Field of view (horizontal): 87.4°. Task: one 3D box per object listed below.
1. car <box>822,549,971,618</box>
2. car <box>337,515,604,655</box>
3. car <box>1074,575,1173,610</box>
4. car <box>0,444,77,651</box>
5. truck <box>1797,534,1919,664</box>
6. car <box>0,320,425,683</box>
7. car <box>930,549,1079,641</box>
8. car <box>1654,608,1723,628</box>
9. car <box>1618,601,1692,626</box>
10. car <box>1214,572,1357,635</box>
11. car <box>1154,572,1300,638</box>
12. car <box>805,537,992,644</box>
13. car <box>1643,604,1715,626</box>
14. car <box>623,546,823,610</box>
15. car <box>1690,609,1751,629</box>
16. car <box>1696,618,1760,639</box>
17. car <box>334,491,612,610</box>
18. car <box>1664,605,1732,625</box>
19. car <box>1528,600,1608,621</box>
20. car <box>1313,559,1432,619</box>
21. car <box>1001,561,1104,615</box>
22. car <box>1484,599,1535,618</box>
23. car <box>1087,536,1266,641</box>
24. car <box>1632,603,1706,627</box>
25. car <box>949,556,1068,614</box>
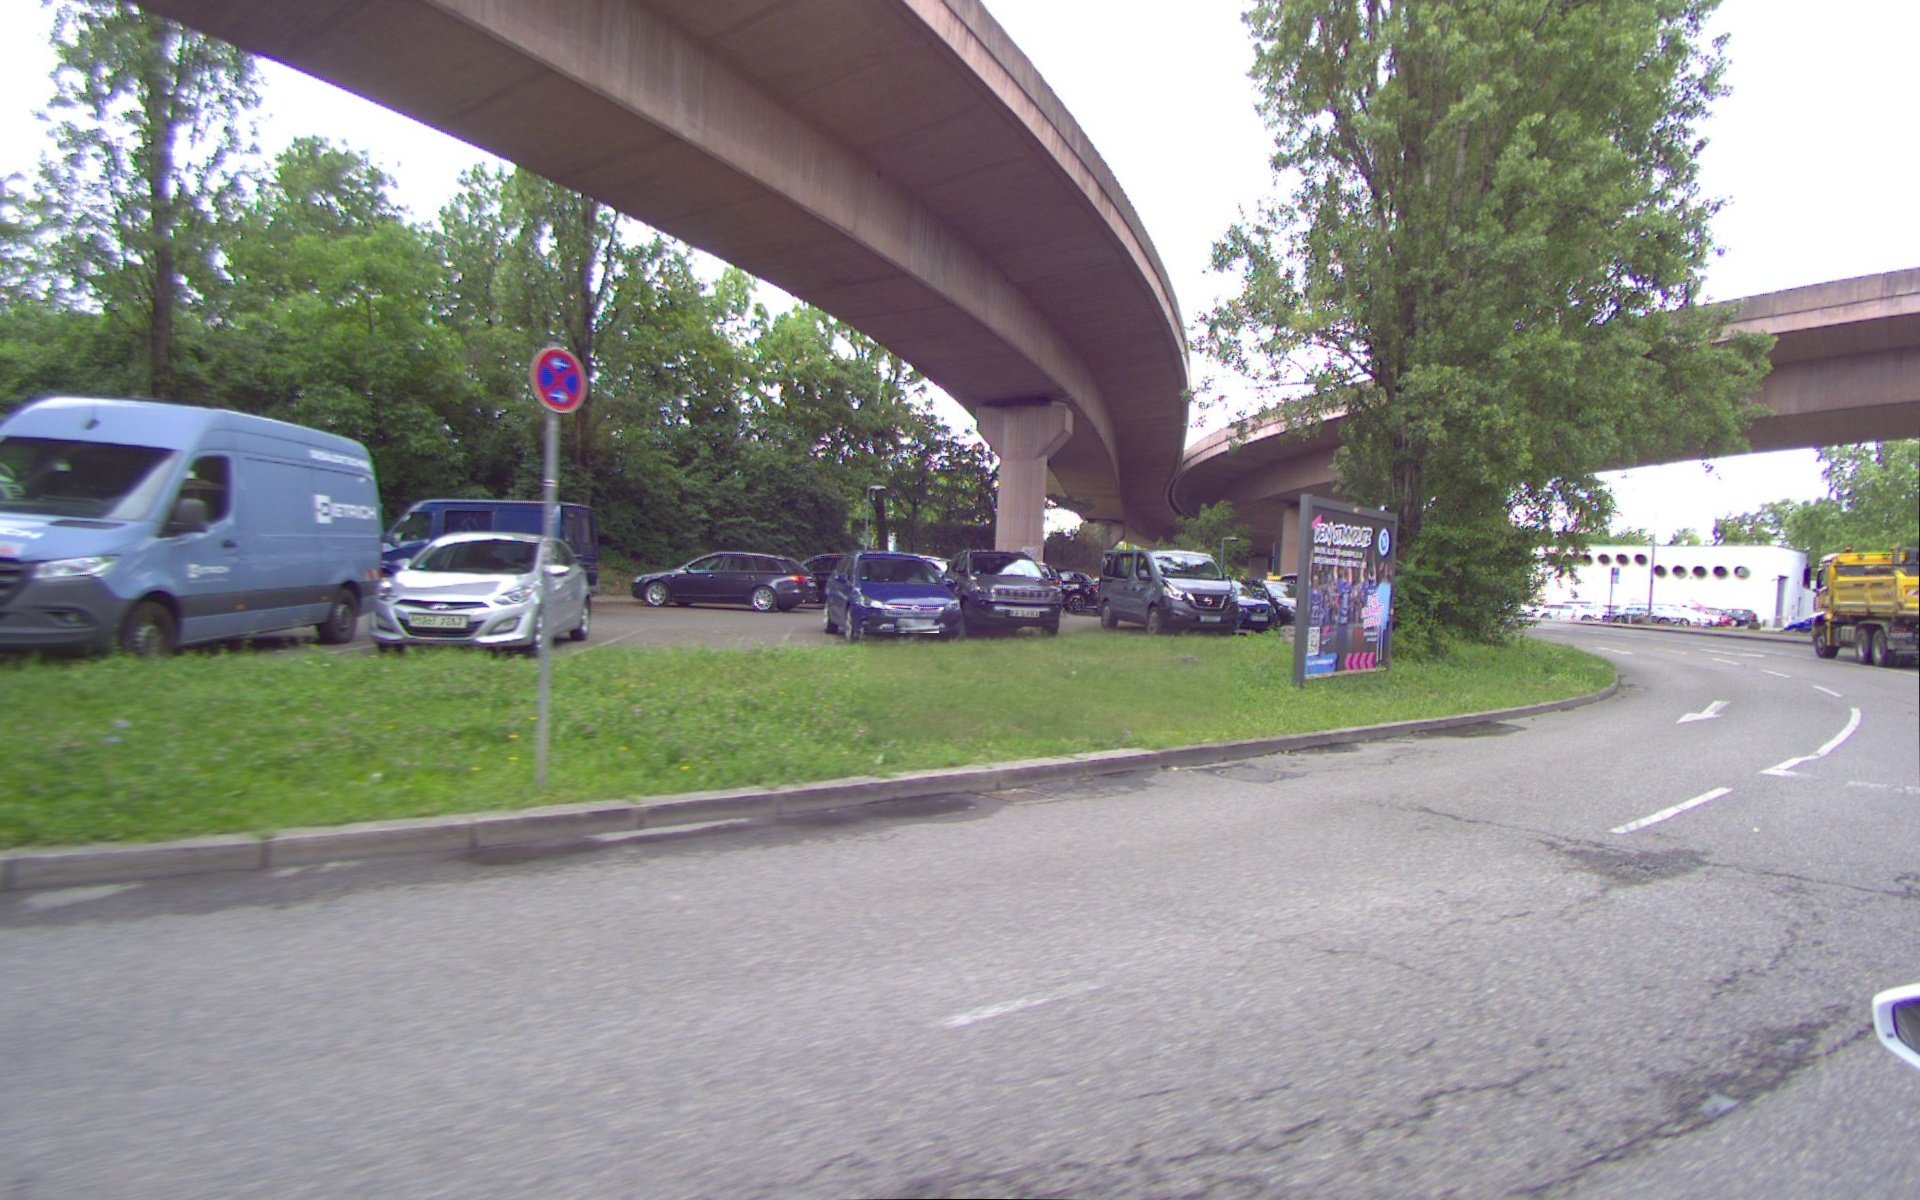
[{"bbox_3d":[-1.911,-0.461,30.883,4.214,1.824,1.848,-3,-2,9],"label":"car"},{"bbox_3d":[-5.976,-0.148,12.898,1.964,1.434,4.284,2,0,-11],"label":"car"},{"bbox_3d":[6.649,-0.304,40.956,3.625,1.373,1.657,0,0,-14],"label":"car"},{"bbox_3d":[-10.674,-0.525,9.027,1.816,2.139,4.565,2,2,-7],"label":"car"},{"bbox_3d":[28.637,-0.003,30.618,2.882,3.528,8.236,0,-1,26],"label":"truck"},{"bbox_3d":[-8.197,-0.861,10.684,2.324,2.761,6.187,2,2,-7],"label":"car"},{"bbox_3d":[0.706,-0.073,19.380,1.863,1.532,4.441,2,0,-11],"label":"car"},{"bbox_3d":[56.158,1.401,77.472,1.982,1.425,3.957,2,-1,-37],"label":"car"},{"bbox_3d":[48.747,0.910,70.491,1.675,1.661,3.956,2,-1,-38],"label":"car"},{"bbox_3d":[9.183,0.157,28.748,1.965,1.573,4.362,0,-3,-12],"label":"car"},{"bbox_3d":[6.940,0.193,26.630,1.781,1.503,4.438,0,-3,-15],"label":"car"},{"bbox_3d":[-1.235,-0.134,17.109,2.044,1.508,4.835,2,0,-18],"label":"car"},{"bbox_3d":[53.069,1.095,74.204,1.982,1.461,3.957,2,-1,-37],"label":"car"},{"bbox_3d":[-6.029,-0.539,25.844,4.551,1.454,2.001,2,-1,9],"label":"car"},{"bbox_3d":[62.006,1.544,81.938,1.620,1.461,3.673,2,-1,-37],"label":"car"},{"bbox_3d":[64.734,2.379,84.737,1.838,1.567,3.959,2,-1,-36],"label":"car"},{"bbox_3d":[-10.352,-1.011,21.575,4.916,2.284,2.125,2,-1,5],"label":"car"},{"bbox_3d":[58.047,1.192,79.057,1.982,1.461,3.957,2,-1,-37],"label":"car"},{"bbox_3d":[45.598,0.749,75.420,1.982,1.461,4.785,2,-1,-37],"label":"car"},{"bbox_3d":[15.252,-0.408,37.412,1.965,2.041,4.440,1,1,-11],"label":"car"},{"bbox_3d":[3.514,-0.473,37.901,3.613,1.691,1.682,5,3,10],"label":"car"},{"bbox_3d":[51.702,0.815,94.579,1.760,1.655,3.841,2,-1,-37],"label":"car"},{"bbox_3d":[4.929,-0.250,23.819,2.220,2.099,5.095,3,0,-11],"label":"car"},{"bbox_3d":[51.124,1.070,72.484,1.983,1.661,3.955,2,-1,-38],"label":"car"},{"bbox_3d":[1.721,-0.552,35.651,4.001,1.735,1.658,4,3,2],"label":"car"}]
